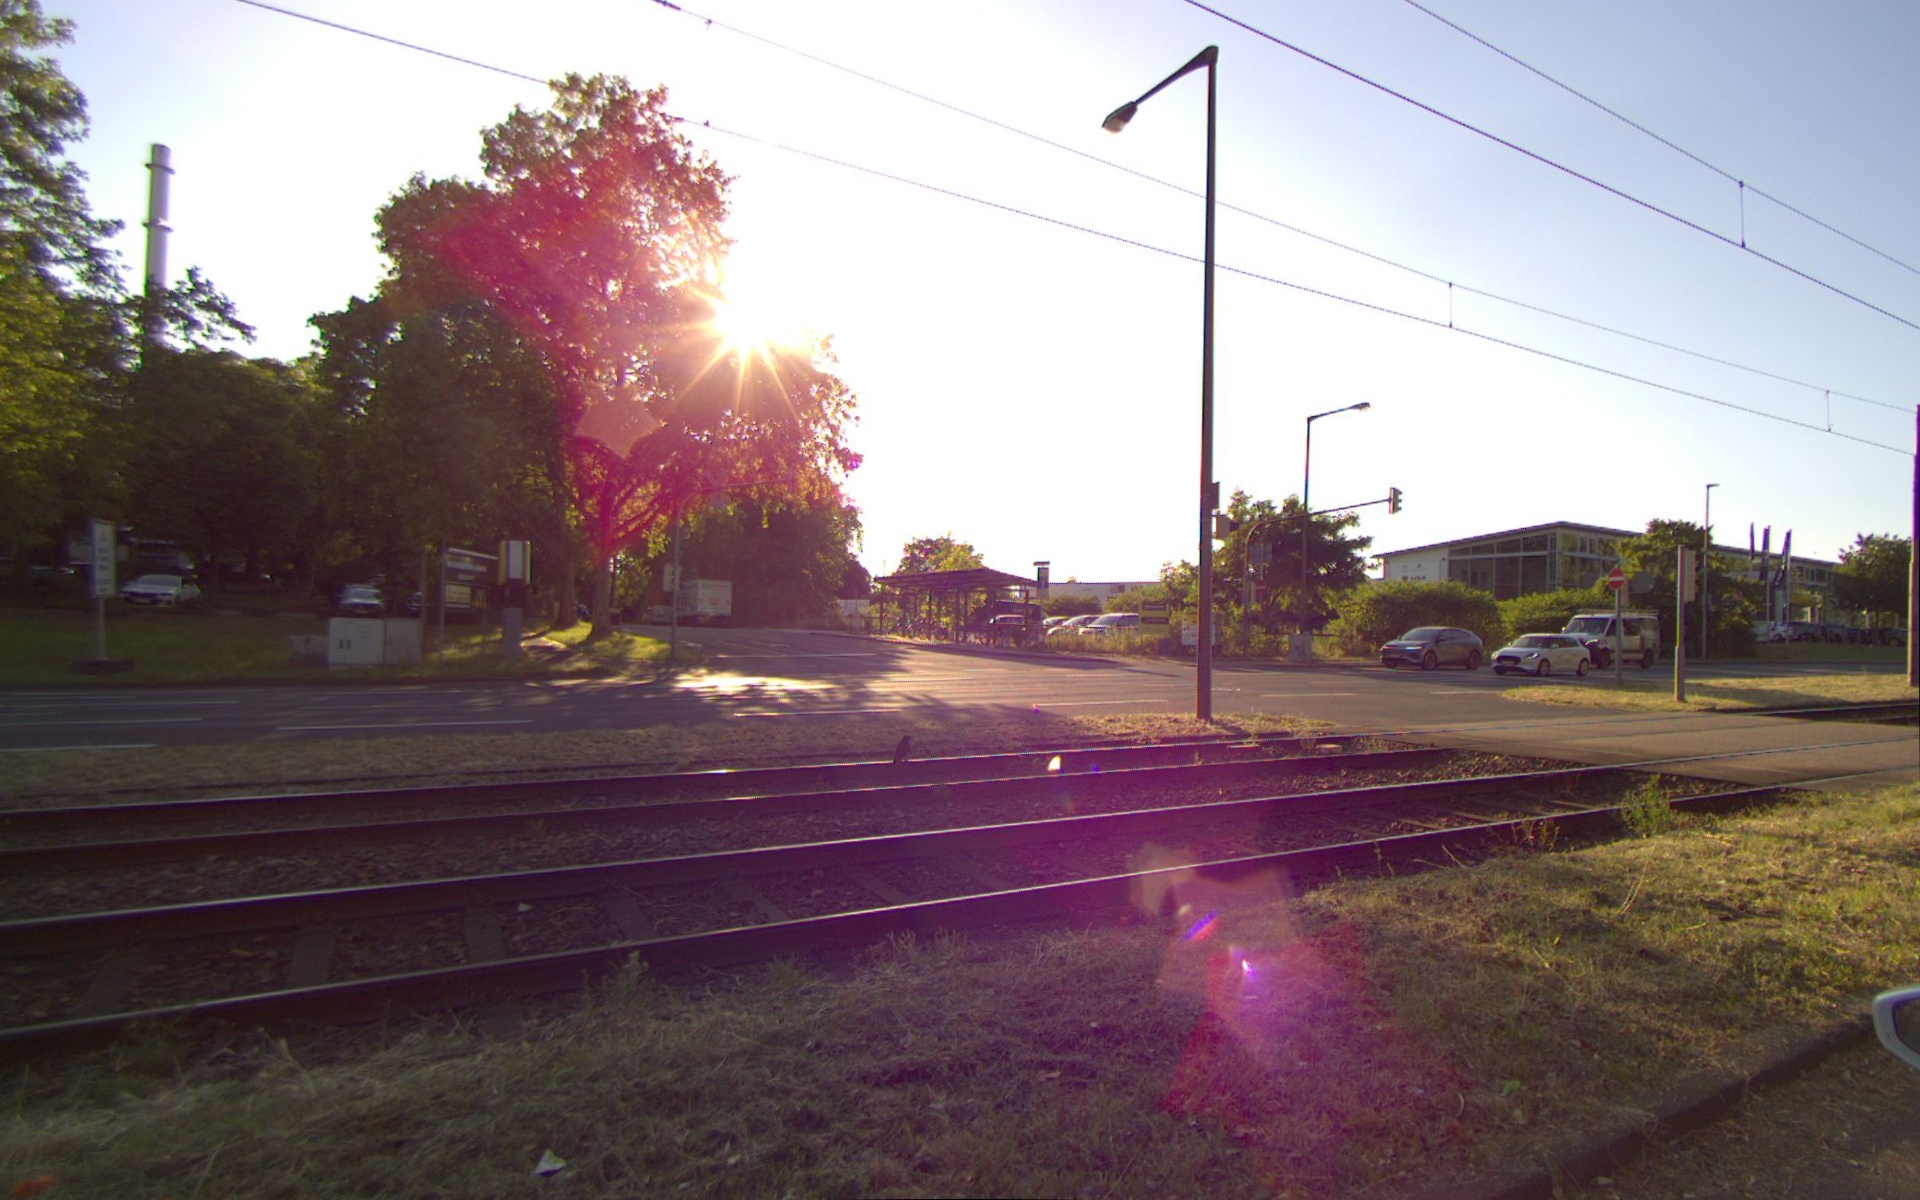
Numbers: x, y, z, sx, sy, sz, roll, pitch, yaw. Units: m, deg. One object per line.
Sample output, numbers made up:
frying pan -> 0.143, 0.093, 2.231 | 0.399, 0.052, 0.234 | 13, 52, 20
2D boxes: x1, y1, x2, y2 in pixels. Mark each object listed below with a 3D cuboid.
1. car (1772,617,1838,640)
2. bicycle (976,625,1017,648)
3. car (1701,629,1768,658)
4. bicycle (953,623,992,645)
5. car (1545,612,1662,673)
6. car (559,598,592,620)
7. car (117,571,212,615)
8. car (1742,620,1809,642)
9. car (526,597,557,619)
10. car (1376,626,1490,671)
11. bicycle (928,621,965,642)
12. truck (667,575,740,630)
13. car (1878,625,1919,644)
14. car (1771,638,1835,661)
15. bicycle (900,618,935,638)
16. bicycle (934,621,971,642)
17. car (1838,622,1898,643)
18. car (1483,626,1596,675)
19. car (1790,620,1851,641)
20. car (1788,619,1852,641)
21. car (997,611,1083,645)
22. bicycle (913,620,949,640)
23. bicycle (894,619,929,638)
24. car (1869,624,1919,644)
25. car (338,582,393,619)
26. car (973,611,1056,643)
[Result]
car -> 63.866, 2.156, 75.906 | 3.744, 1.588, 1.750 | 2, -1, 42
bicycle -> 1.691, 1.692, 46.795 | 1.870, 1.052, 0.540 | 2, 0, -29
car -> 56.608, 3.151, 73.431 | 3.744, 1.884, 1.750 | 2, -1, 42
bicycle -> 0.610, 1.695, 49.743 | 1.870, 1.052, 0.540 | 2, 0, -29
car -> 29.501, 1.962, 45.991 | 5.805, 2.600, 1.994 | 2, 0, -29
car -> -29.489, 0.651, 77.004 | 1.828, 1.572, 3.971 | 2, -1, -28
car -> -34.101, -0.279, 43.215 | 1.972, 1.729, 4.870 | 2, -1, -24
car -> 60.059, 2.289, 74.020 | 3.744, 1.407, 1.750 | 2, -1, 42
car -> -32.034, 0.564, 76.801 | 1.828, 1.572, 3.971 | 2, -1, -28
car -> 18.722, 1.925, 39.736 | 4.495, 1.639, 1.861 | 2, -1, -31
bicycle -> -0.708, 1.637, 52.501 | 1.870, 1.052, 0.540 | 2, 0, -29
truck -> -20.205, 0.160, 78.534 | 3.153, 3.927, 11.024 | 2, -1, -26
car -> 85.624, 3.101, 90.814 | 3.744, 1.588, 1.750 | 2, -1, 42
car -> 65.442, 3.810, 78.019 | 3.744, 1.588, 1.750 | 2, -1, 42
bicycle -> -2.329, 1.533, 55.039 | 1.868, 1.052, 0.541 | 2, 0, -25
bicycle -> -0.373, 1.645, 51.814 | 1.870, 1.052, 0.540 | 2, 0, -29
car -> 77.987, 2.777, 86.333 | 3.744, 1.588, 1.750 | 2, -1, 42
car -> 21.037, 1.836, 36.440 | 3.954, 1.639, 1.861 | 2, -1, -31
car -> 70.030, 2.483, 81.796 | 3.744, 1.588, 1.750 | 2, -1, 42
car -> 68.194, 2.352, 79.678 | 3.744, 1.588, 1.750 | 2, -1, 42
car -> 4.397, 1.535, 55.021 | 4.271, 1.670, 2.102 | 2, -1, -31
bicycle -> -1.553, 1.615, 53.855 | 1.868, 1.052, 0.541 | 2, 0, -25
bicycle -> -2.732, 1.605, 56.276 | 1.868, 1.052, 0.541 | 2, 0, -25
car -> 83.356, 3.002, 89.220 | 3.744, 1.588, 1.750 | 2, -1, 42
car -> -27.583, 0.004, 46.704 | 2.019, 1.595, 4.368 | 2, -1, -29
car -> 3.115, 1.526, 57.007 | 4.271, 1.670, 2.102 | 2, -1, -31
